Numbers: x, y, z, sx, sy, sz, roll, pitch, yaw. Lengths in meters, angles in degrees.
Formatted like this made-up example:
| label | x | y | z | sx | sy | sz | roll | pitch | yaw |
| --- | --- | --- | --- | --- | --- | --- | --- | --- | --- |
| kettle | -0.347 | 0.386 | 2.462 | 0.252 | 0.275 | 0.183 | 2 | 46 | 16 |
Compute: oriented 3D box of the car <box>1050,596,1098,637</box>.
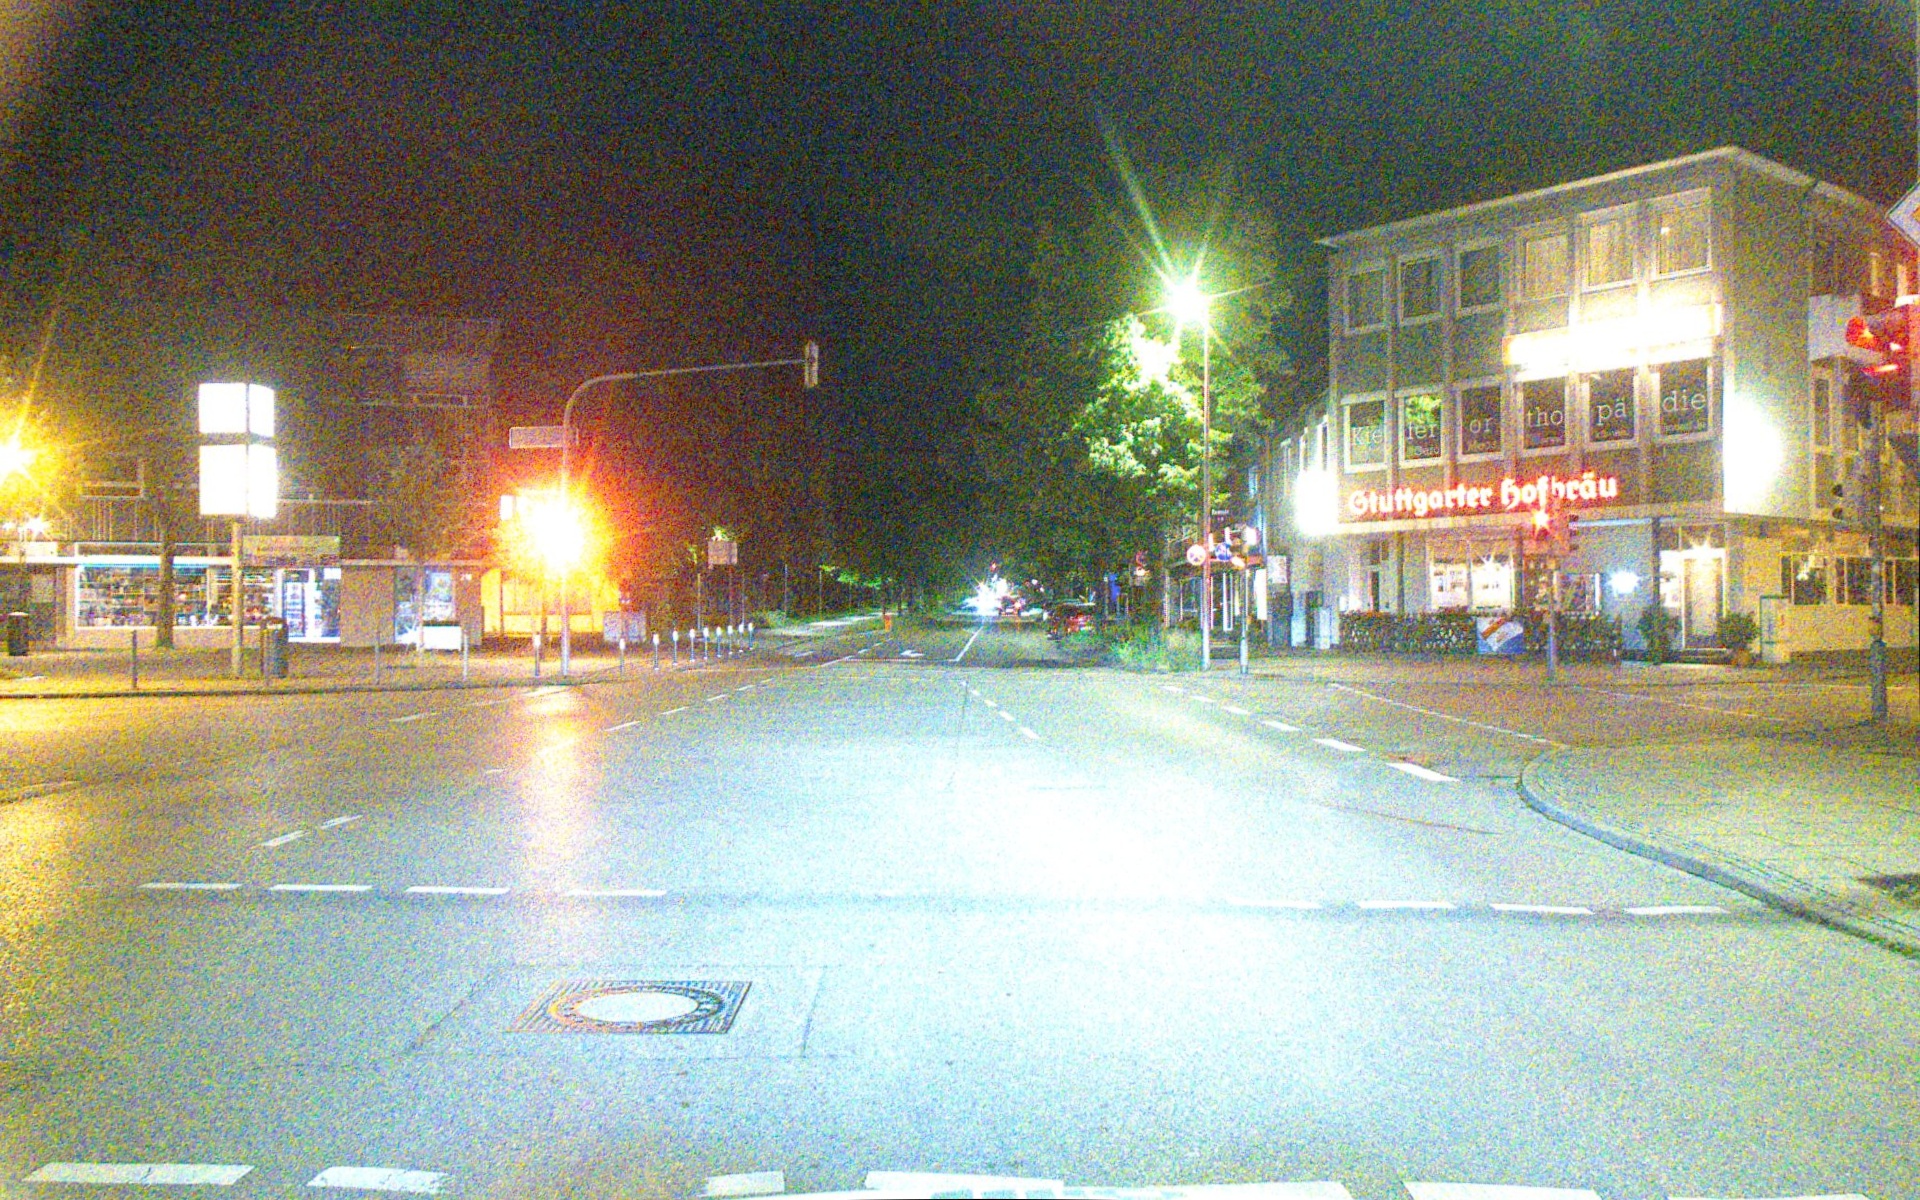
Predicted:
| label | x | y | z | sx | sy | sz | roll | pitch | yaw |
| --- | --- | --- | --- | --- | --- | --- | --- | --- | --- |
| car | 4.726 | 0.679 | 68.854 | 1.837 | 1.643 | 4.001 | 0 | 0 | 2 |

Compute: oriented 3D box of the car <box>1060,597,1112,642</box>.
| label | x | y | z | sx | sy | sz | roll | pitch | yaw |
| --- | --- | --- | --- | --- | --- | --- | --- | --- | --- |
| car | 4.810 | 0.732 | 63.727 | 1.837 | 1.643 | 4.001 | 0 | 0 | 2 |

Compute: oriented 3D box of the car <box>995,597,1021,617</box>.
| label | x | y | z | sx | sy | sz | roll | pitch | yaw |
| --- | --- | --- | --- | --- | --- | --- | --- | --- | --- |
| car | 3.714 | 0.551 | 128.841 | 1.835 | 1.479 | 4.316 | 1 | 0 | 0 |

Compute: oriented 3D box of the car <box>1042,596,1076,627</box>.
| label | x | y | z | sx | sy | sz | roll | pitch | yaw |
| --- | --- | --- | --- | --- | --- | --- | --- | --- | --- |
| car | 5.663 | 0.652 | 94.554 | 1.837 | 1.713 | 4.001 | 0 | 0 | 2 |

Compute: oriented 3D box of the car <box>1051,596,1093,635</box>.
| label | x | y | z | sx | sy | sz | roll | pitch | yaw |
| --- | --- | --- | --- | --- | --- | --- | --- | --- | --- |
| car | 5.150 | 0.709 | 76.531 | 1.837 | 1.759 | 4.001 | 0 | 0 | 2 |
